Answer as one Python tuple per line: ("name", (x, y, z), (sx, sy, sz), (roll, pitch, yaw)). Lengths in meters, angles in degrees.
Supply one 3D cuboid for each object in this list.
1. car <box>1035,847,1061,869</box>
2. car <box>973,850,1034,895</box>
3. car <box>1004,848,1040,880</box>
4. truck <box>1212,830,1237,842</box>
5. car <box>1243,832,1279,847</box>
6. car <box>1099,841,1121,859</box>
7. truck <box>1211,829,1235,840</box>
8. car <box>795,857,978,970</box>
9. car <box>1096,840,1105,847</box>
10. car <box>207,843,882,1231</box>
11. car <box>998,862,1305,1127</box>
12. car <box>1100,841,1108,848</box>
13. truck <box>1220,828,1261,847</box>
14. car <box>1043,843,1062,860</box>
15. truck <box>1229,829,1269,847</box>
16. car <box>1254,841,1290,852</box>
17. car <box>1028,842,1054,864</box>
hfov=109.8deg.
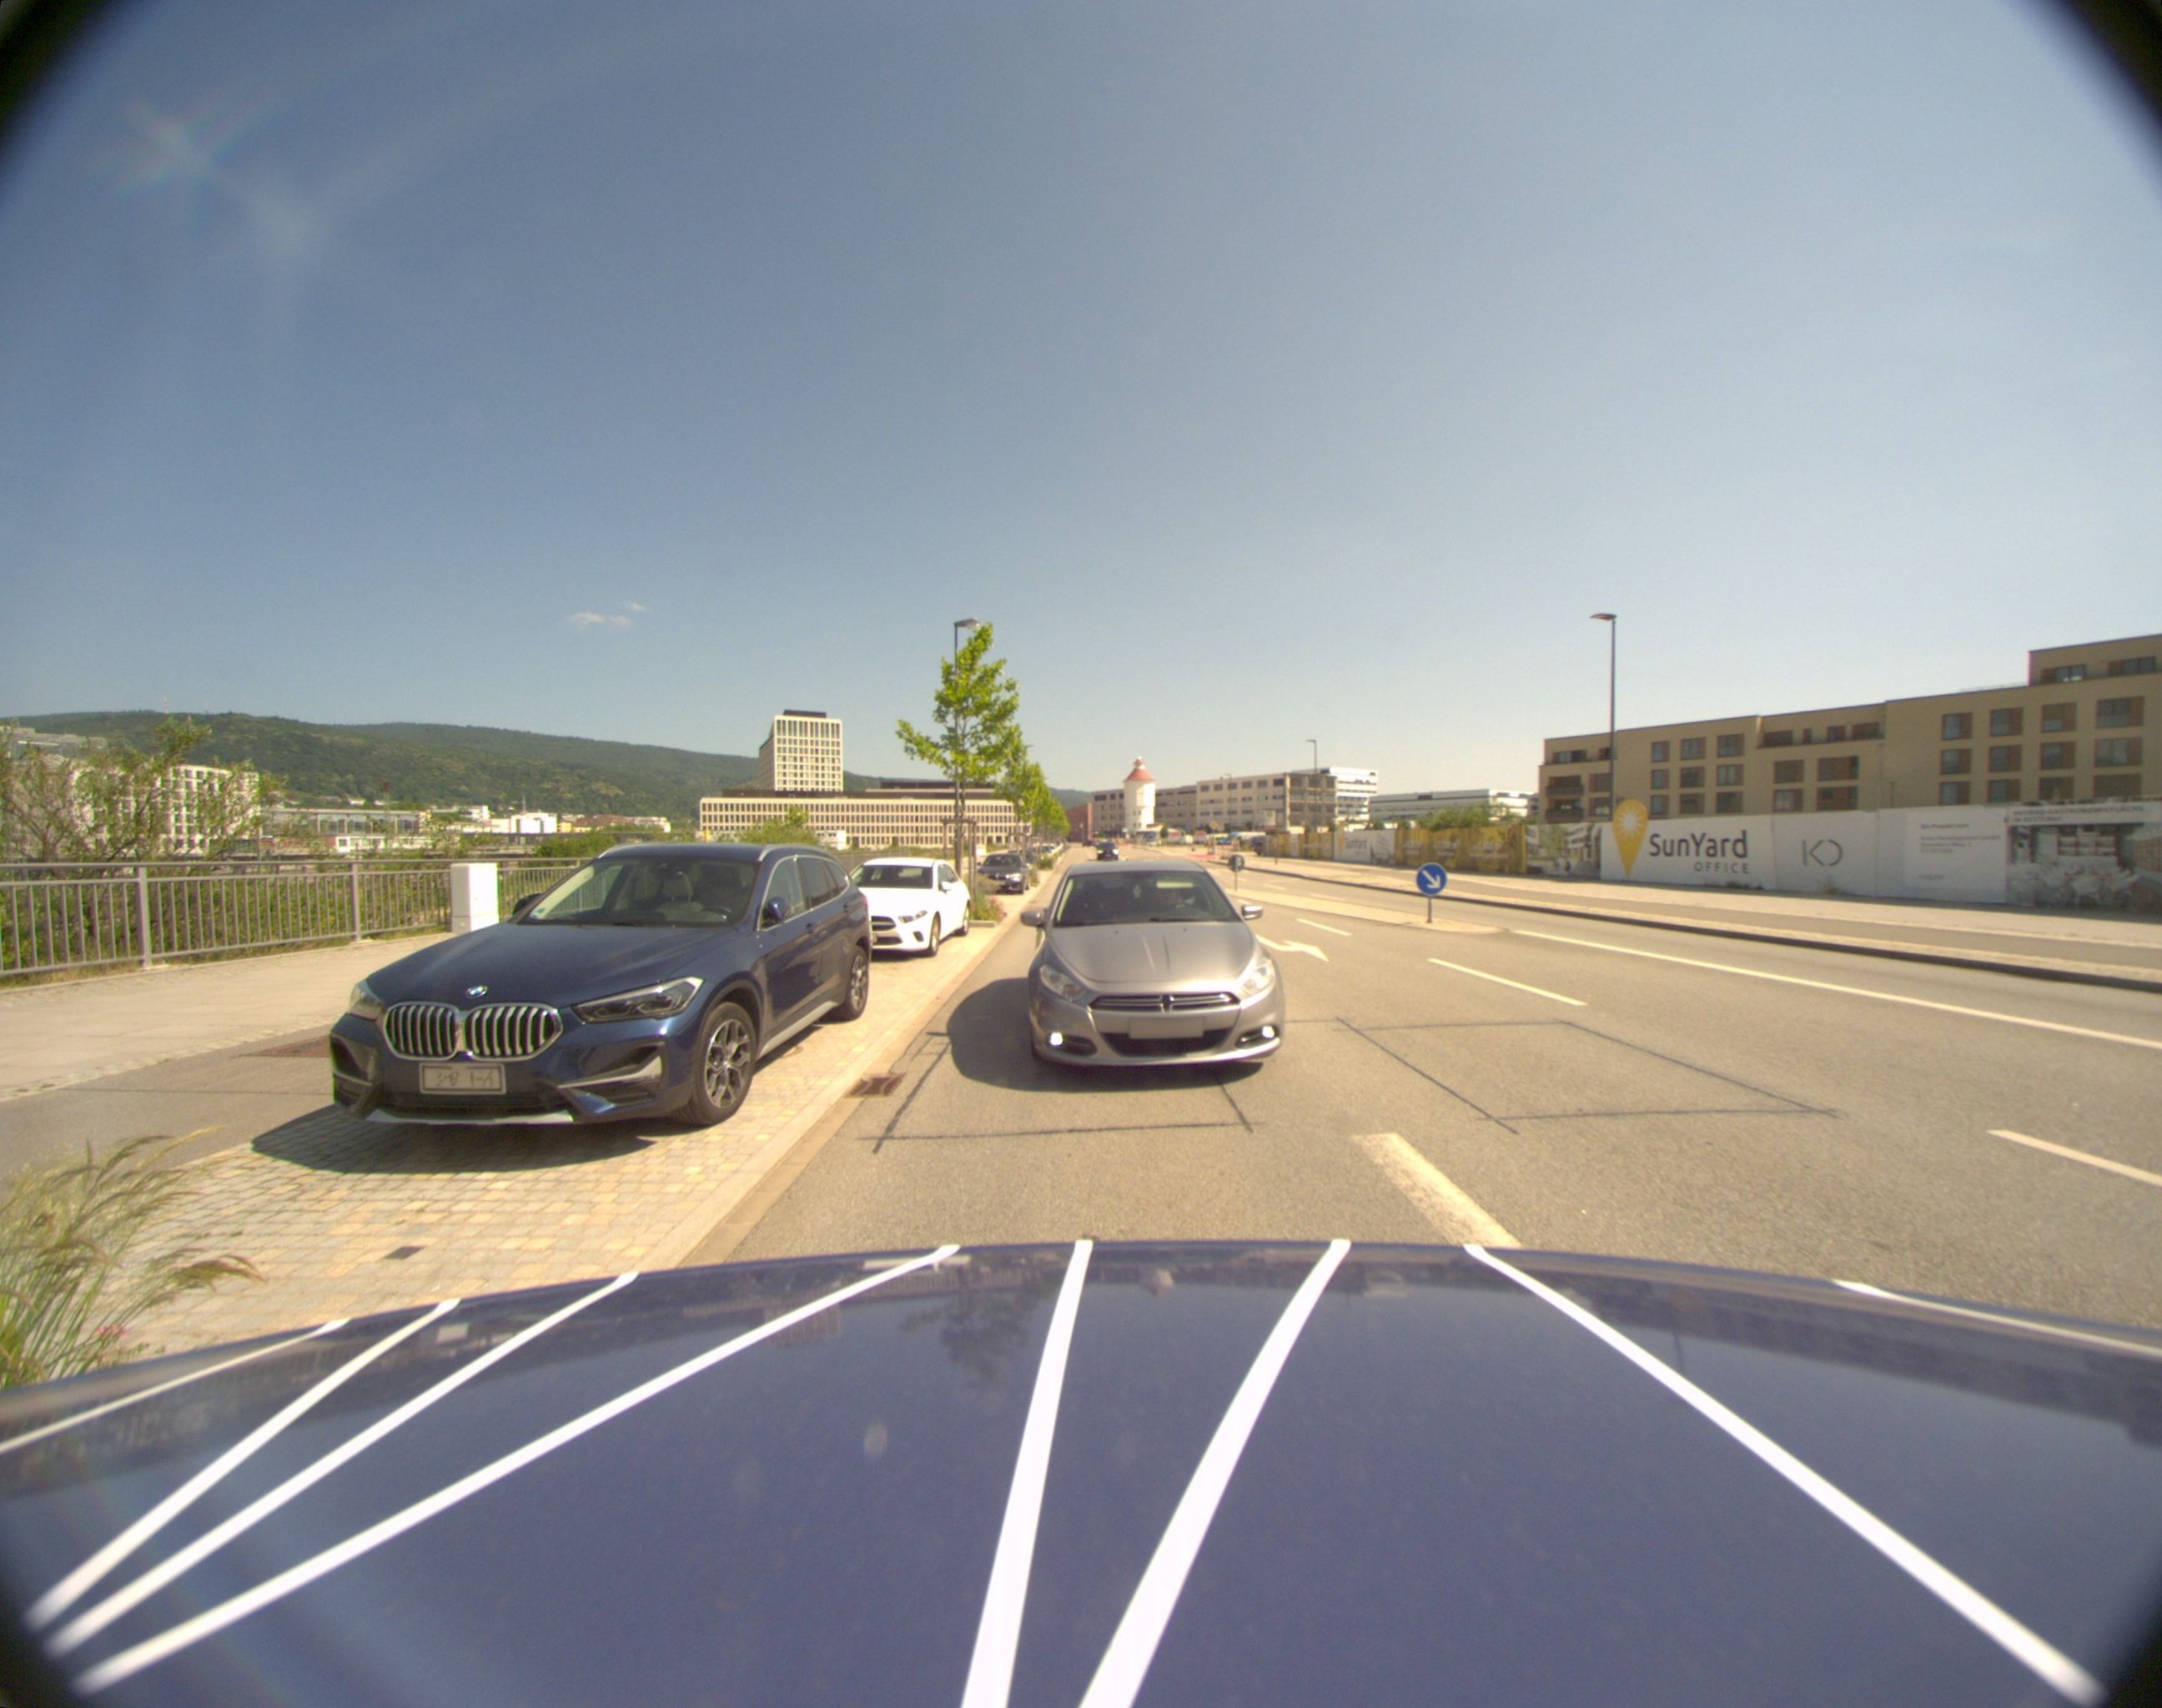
("car", (-2.170, 0.233, 50.565), (1.490, 1.302, 3.154), (2, 1, 0))
("car", (-2.760, 0.637, 27.834), (1.808, 1.424, 3.915), (2, 1, 0))
("car", (-2.931, 0.461, 38.187), (1.569, 1.465, 3.006), (2, 1, 0))
("truck", (33.386, -4.162, 177.302), (5.333, 2.461, 1.999), (-3, 1, -4))
("car", (22.860, -1.858, 96.524), (3.930, 1.708, 1.891), (-3, 1, -5))
("car", (2.570, -0.335, 68.120), (1.819, 1.458, 4.347), (-3, 1, 2))
("truck", (34.601, -4.669, 185.339), (5.412, 2.461, 1.999), (-2, 1, -2))
("car", (-2.918, 0.813, 12.386), (1.710, 1.366, 4.270), (2, 1, 2))
("car", (4.359, -2.368, 169.155), (1.820, 1.458, 3.912), (-1, 1, 1))
("car", (-2.911, 0.781, 5.474), (1.808, 1.674, 4.270), (1, 1, 0))
("car", (0.459, 0.877, 6.752), (1.820, 1.458, 4.346), (-1, 1, 1))
("car", (5.327, -2.283, 179.370), (1.819, 1.458, 3.876), (-1, 1, 2))
("truck", (23.726, -2.449, 113.326), (5.633, 2.461, 1.999), (-3, 1, -4))
("car", (-2.635, -0.279, 70.631), (1.526, 1.482, 3.504), (-3, 1, 0))
("truck", (23.383, -2.247, 105.924), (5.005, 2.215, 1.999), (-2, 1, -1))
("car", (19.605, -0.746, 77.966), (3.359, 0.947, 1.293), (-2, 1, 3))
("car", (-3.209, -0.132, 61.110), (1.768, 1.609, 3.373), (-3, 1, 0))
